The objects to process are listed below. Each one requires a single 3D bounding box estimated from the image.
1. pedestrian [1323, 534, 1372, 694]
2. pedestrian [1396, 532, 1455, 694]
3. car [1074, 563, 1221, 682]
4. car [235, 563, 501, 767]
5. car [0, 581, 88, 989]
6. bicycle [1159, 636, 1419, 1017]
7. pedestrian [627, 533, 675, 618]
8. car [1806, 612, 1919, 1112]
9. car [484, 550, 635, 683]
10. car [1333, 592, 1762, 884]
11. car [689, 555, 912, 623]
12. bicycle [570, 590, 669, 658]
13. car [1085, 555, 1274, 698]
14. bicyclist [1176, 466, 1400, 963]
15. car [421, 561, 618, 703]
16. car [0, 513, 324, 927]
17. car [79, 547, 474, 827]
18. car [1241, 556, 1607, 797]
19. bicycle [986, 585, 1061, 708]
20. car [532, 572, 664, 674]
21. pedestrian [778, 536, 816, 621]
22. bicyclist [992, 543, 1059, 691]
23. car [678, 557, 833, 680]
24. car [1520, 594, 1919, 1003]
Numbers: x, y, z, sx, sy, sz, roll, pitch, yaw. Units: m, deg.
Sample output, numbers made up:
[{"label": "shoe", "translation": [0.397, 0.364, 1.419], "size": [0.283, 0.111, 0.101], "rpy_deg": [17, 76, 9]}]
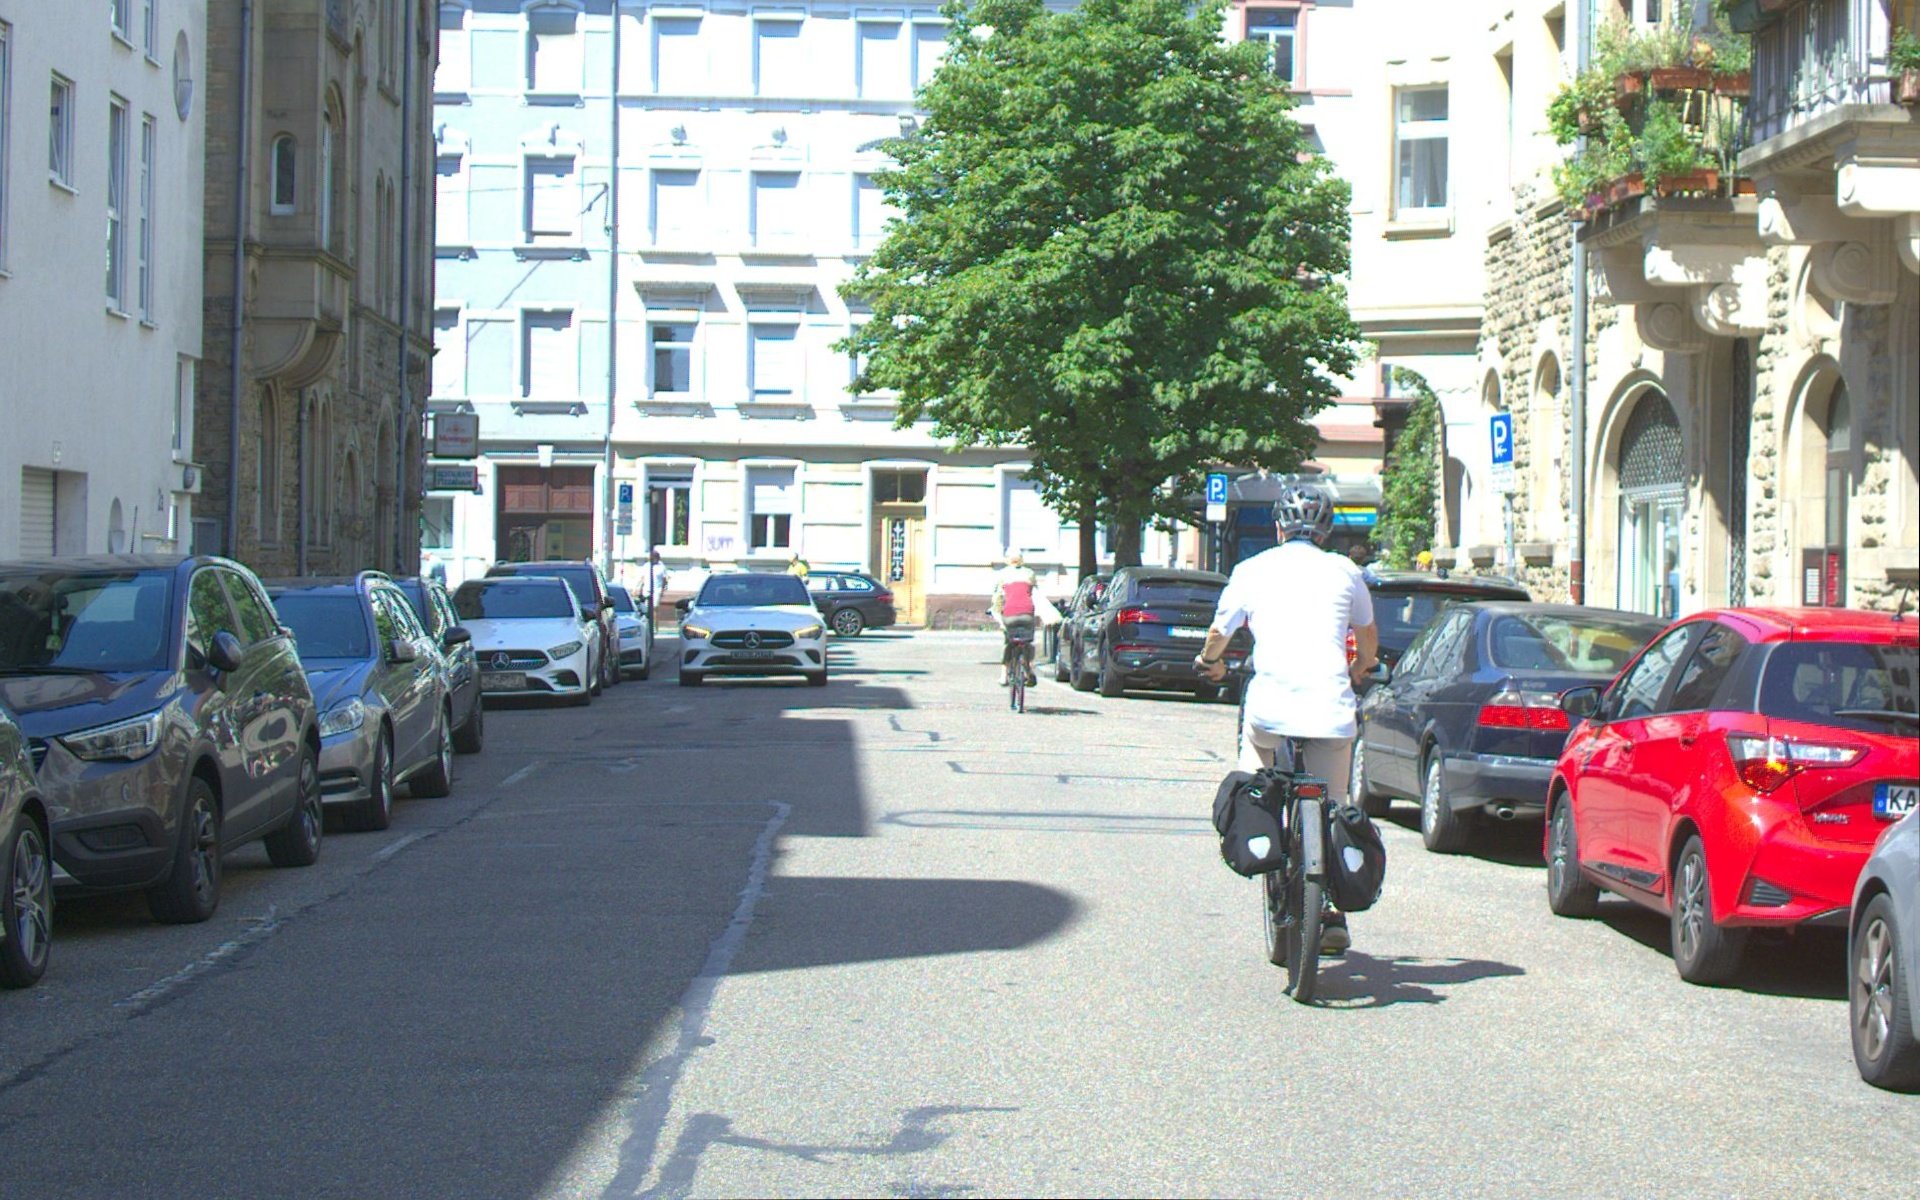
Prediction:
[{"label": "pedestrian", "translation": [4.569, 0.161, 40.543], "size": [0.518, 1.862, 0.653], "rpy_deg": [1, 0, 5]}, {"label": "pedestrian", "translation": [5.487, 0.150, 40.548], "size": [0.599, 1.873, 0.883], "rpy_deg": [1, 0, 4]}, {"label": "car", "translation": [2.631, 0.291, 48.978], "size": [1.663, 1.535, 4.178], "rpy_deg": [3, 0, -2]}, {"label": "car", "translation": [-4.659, 0.468, 27.500], "size": [1.567, 1.486, 3.894], "rpy_deg": [-1, 0, -2]}, {"label": "car", "translation": [-4.144, 0.655, 10.926], "size": [1.765, 1.388, 4.349], "rpy_deg": [-1, 0, -2]}, {"label": "bicycle", "translation": [1.189, 0.783, 12.904], "size": [0.652, 1.224, 2.441], "rpy_deg": [3, 0, -1]}, {"label": "pedestrian", "translation": [-6.895, -0.549, 76.667], "size": [0.850, 1.882, 0.935], "rpy_deg": [1, 0, 9]}, {"label": "car", "translation": [3.629, 0.820, 9.504], "size": [1.589, 1.447, 3.856], "rpy_deg": [3, 0, 1]}, {"label": "car", "translation": [-5.041, 0.182, 43.676], "size": [1.672, 1.577, 4.053], "rpy_deg": [-1, 0, -4]}, {"label": "car", "translation": [3.341, 0.729, 20.266], "size": [1.512, 1.394, 3.973], "rpy_deg": [5, 0, -4]}, {"label": "car", "translation": [-3.524, -0.245, 76.375], "size": [4.859, 1.432, 2.000], "rpy_deg": [1, 0, -2]}, {"label": "bicycle", "translation": [-5.485, 0.383, 55.314], "size": [1.524, 1.004, 0.367], "rpy_deg": [3, 0, -6]}, {"label": "car", "translation": [2.674, 0.292, 42.785], "size": [1.735, 1.591, 4.348], "rpy_deg": [3, 0, -4]}, {"label": "bicyclist", "translation": [1.198, 0.409, 12.655], "size": [0.670, 1.754, 0.609], "rpy_deg": [3, 0, -1]}, {"label": "car", "translation": [-4.850, 0.321, 38.310], "size": [1.776, 1.455, 4.279], "rpy_deg": [-1, 0, -2]}, {"label": "car", "translation": [-4.014, 0.470, 15.676], "size": [1.603, 1.638, 3.977], "rpy_deg": [-1, 0, -2]}, {"label": "car", "translation": [-4.094, 0.459, 21.278], "size": [1.656, 1.513, 4.672], "rpy_deg": [-1, 0, -2]}, {"label": "car", "translation": [3.377, 0.503, 25.926], "size": [1.833, 1.561, 4.606], "rpy_deg": [3, 0, -3]}, {"label": "bicycle", "translation": [0.654, 0.468, 35.997], "size": [0.652, 1.205, 2.441], "rpy_deg": [3, 0, -1]}, {"label": "car", "translation": [-5.078, 0.294, 48.673], "size": [1.701, 1.348, 4.516], "rpy_deg": [-1, 0, -4]}, {"label": "pedestrian", "translation": [-3.567, -0.465, 75.083], "size": [0.724, 1.847, 0.685], "rpy_deg": [1, 0, -11]}, {"label": "bicyclist", "translation": [0.681, 0.171, 35.997], "size": [0.670, 1.528, 0.609], "rpy_deg": [1, 0, -1]}, {"label": "car", "translation": [-2.549, 0.208, 43.734], "size": [1.841, 1.456, 4.363], "rpy_deg": [-1, 0, -2]}, {"label": "car", "translation": [3.573, 0.755, 14.665], "size": [1.570, 1.447, 3.843], "rpy_deg": [3, 0, -1]}]
